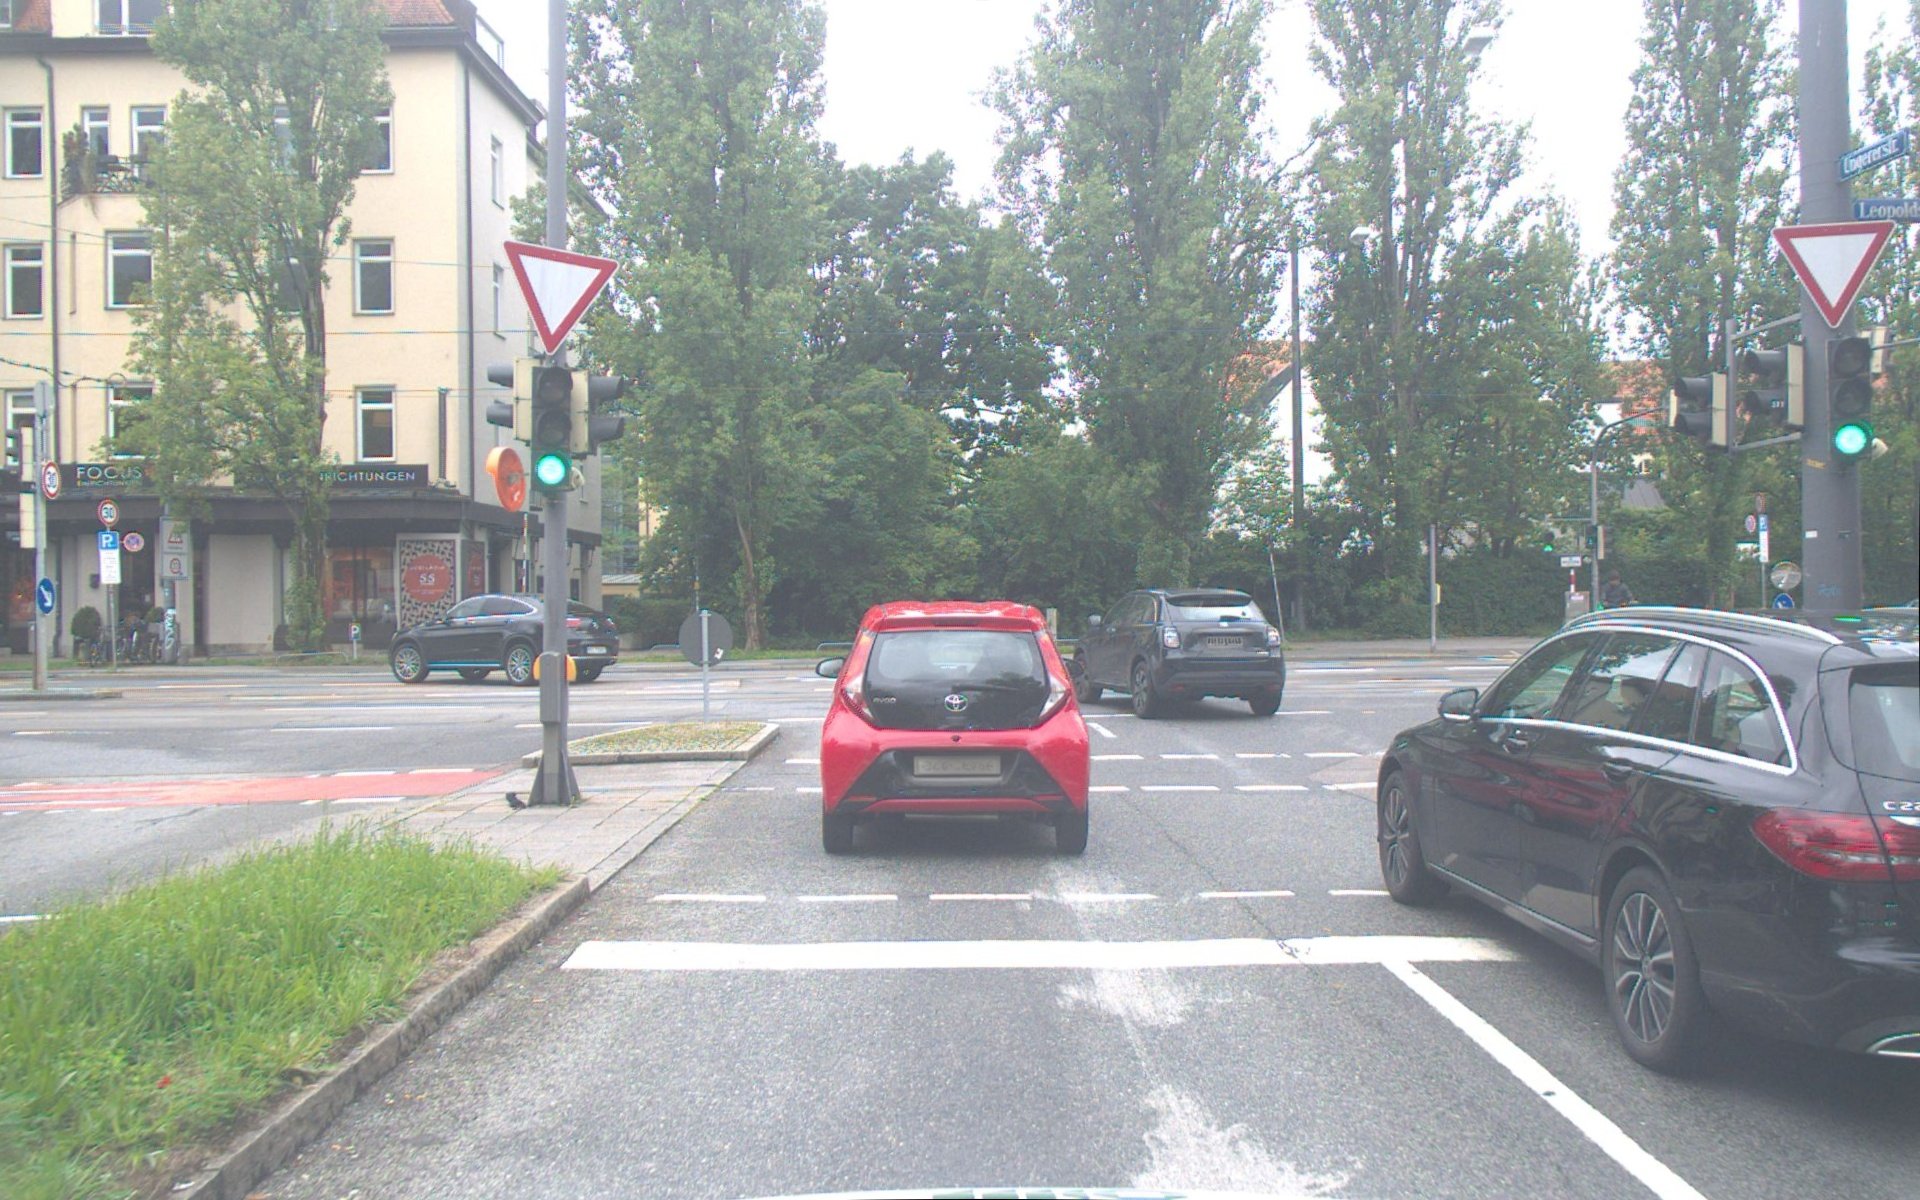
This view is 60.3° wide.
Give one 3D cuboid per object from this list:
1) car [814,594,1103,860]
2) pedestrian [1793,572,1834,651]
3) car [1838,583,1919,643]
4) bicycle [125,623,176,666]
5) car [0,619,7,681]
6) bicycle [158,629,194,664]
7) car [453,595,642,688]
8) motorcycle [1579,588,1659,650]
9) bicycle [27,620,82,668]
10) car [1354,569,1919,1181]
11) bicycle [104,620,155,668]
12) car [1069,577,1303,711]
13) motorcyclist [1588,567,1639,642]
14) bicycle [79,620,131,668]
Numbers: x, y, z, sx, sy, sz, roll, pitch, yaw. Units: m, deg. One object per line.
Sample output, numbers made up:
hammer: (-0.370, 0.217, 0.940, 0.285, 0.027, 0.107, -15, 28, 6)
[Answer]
car: (0.015, 0.706, 10.942, 1.595, 1.465, 3.377, -1, 0, 1)
pedestrian: (18.606, 0.252, 36.048, 0.689, 1.692, 0.549, 0, -1, 40)
car: (25.365, 0.300, 42.903, 4.251, 1.512, 1.786, -1, 0, -2)
bicycle: (-21.348, 1.162, 43.640, 0.485, 1.100, 1.888, -1, 0, -3)
car: (-25.079, 1.237, 39.177, 3.909, 1.491, 1.803, -1, -1, -5)
bicycle: (-21.499, 1.266, 45.367, 0.380, 0.899, 1.370, -1, 0, -3)
car: (-7.736, 0.722, 30.725, 1.724, 1.576, 4.513, -1, 0, -38)
motorcycle: (12.974, 0.372, 32.608, 0.616, 1.190, 2.027, 1, -1, -5)
bicycle: (-23.878, 1.143, 43.631, 0.485, 1.206, 1.888, -1, 0, -3)
car: (3.068, 0.719, 6.636, 1.825, 1.576, 4.703, 1, 0, 0)
bicycle: (-21.862, 1.146, 43.579, 0.485, 1.206, 1.888, -1, 0, -3)
car: (2.752, 0.521, 21.100, 1.749, 1.512, 3.989, -1, 0, -11)
motorcyclist: (12.961, 0.098, 32.805, 0.607, 1.468, 0.881, 1, -1, -6)
bicycle: (-22.549, 1.137, 43.644, 0.485, 1.206, 1.888, -1, 0, -3)
